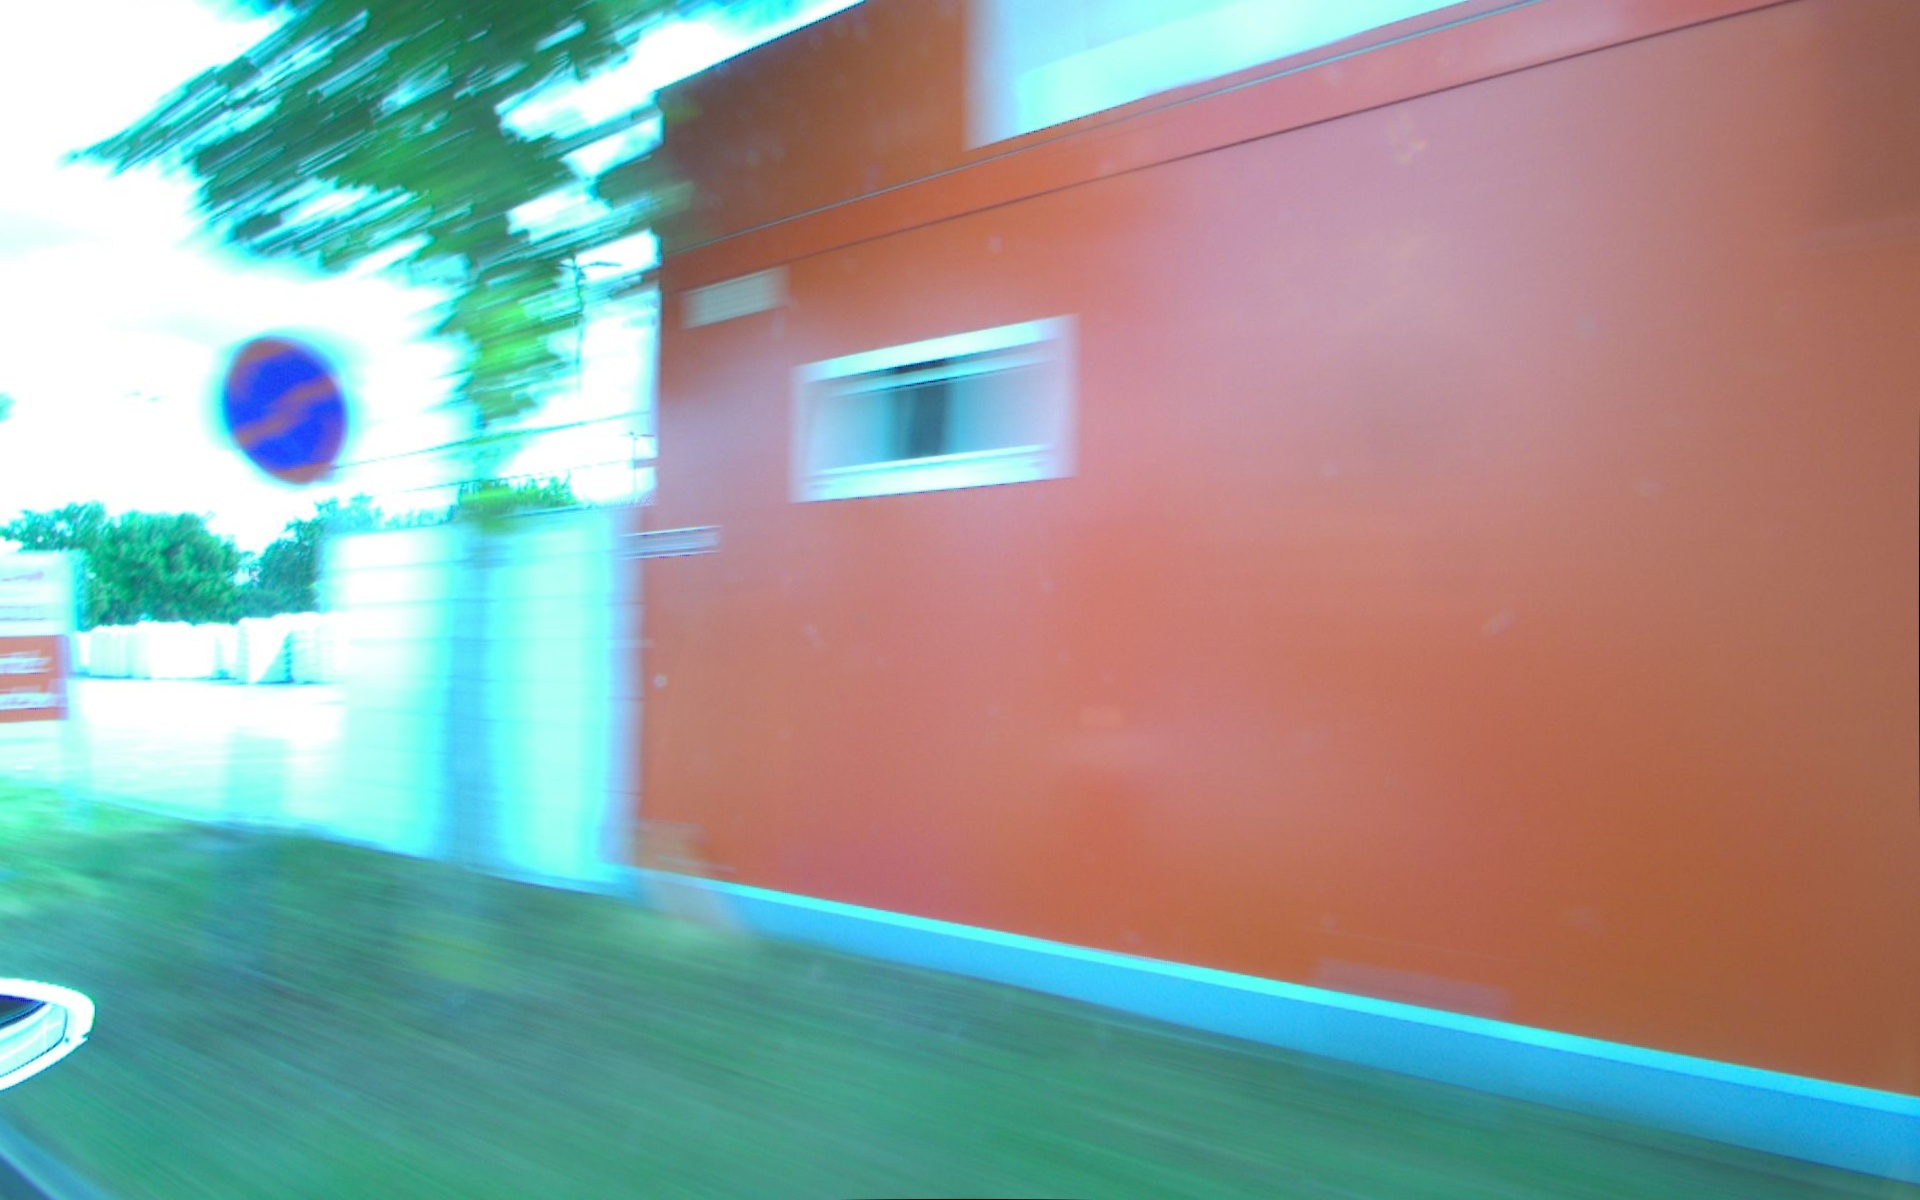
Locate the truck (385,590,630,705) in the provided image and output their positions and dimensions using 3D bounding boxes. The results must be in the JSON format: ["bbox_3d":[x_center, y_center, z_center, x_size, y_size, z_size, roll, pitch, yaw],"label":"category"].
[{"bbox_3d":[-11.123,1.163,25.128,2.084,2.547,5.424,0,-2,29],"label":"truck"}]
